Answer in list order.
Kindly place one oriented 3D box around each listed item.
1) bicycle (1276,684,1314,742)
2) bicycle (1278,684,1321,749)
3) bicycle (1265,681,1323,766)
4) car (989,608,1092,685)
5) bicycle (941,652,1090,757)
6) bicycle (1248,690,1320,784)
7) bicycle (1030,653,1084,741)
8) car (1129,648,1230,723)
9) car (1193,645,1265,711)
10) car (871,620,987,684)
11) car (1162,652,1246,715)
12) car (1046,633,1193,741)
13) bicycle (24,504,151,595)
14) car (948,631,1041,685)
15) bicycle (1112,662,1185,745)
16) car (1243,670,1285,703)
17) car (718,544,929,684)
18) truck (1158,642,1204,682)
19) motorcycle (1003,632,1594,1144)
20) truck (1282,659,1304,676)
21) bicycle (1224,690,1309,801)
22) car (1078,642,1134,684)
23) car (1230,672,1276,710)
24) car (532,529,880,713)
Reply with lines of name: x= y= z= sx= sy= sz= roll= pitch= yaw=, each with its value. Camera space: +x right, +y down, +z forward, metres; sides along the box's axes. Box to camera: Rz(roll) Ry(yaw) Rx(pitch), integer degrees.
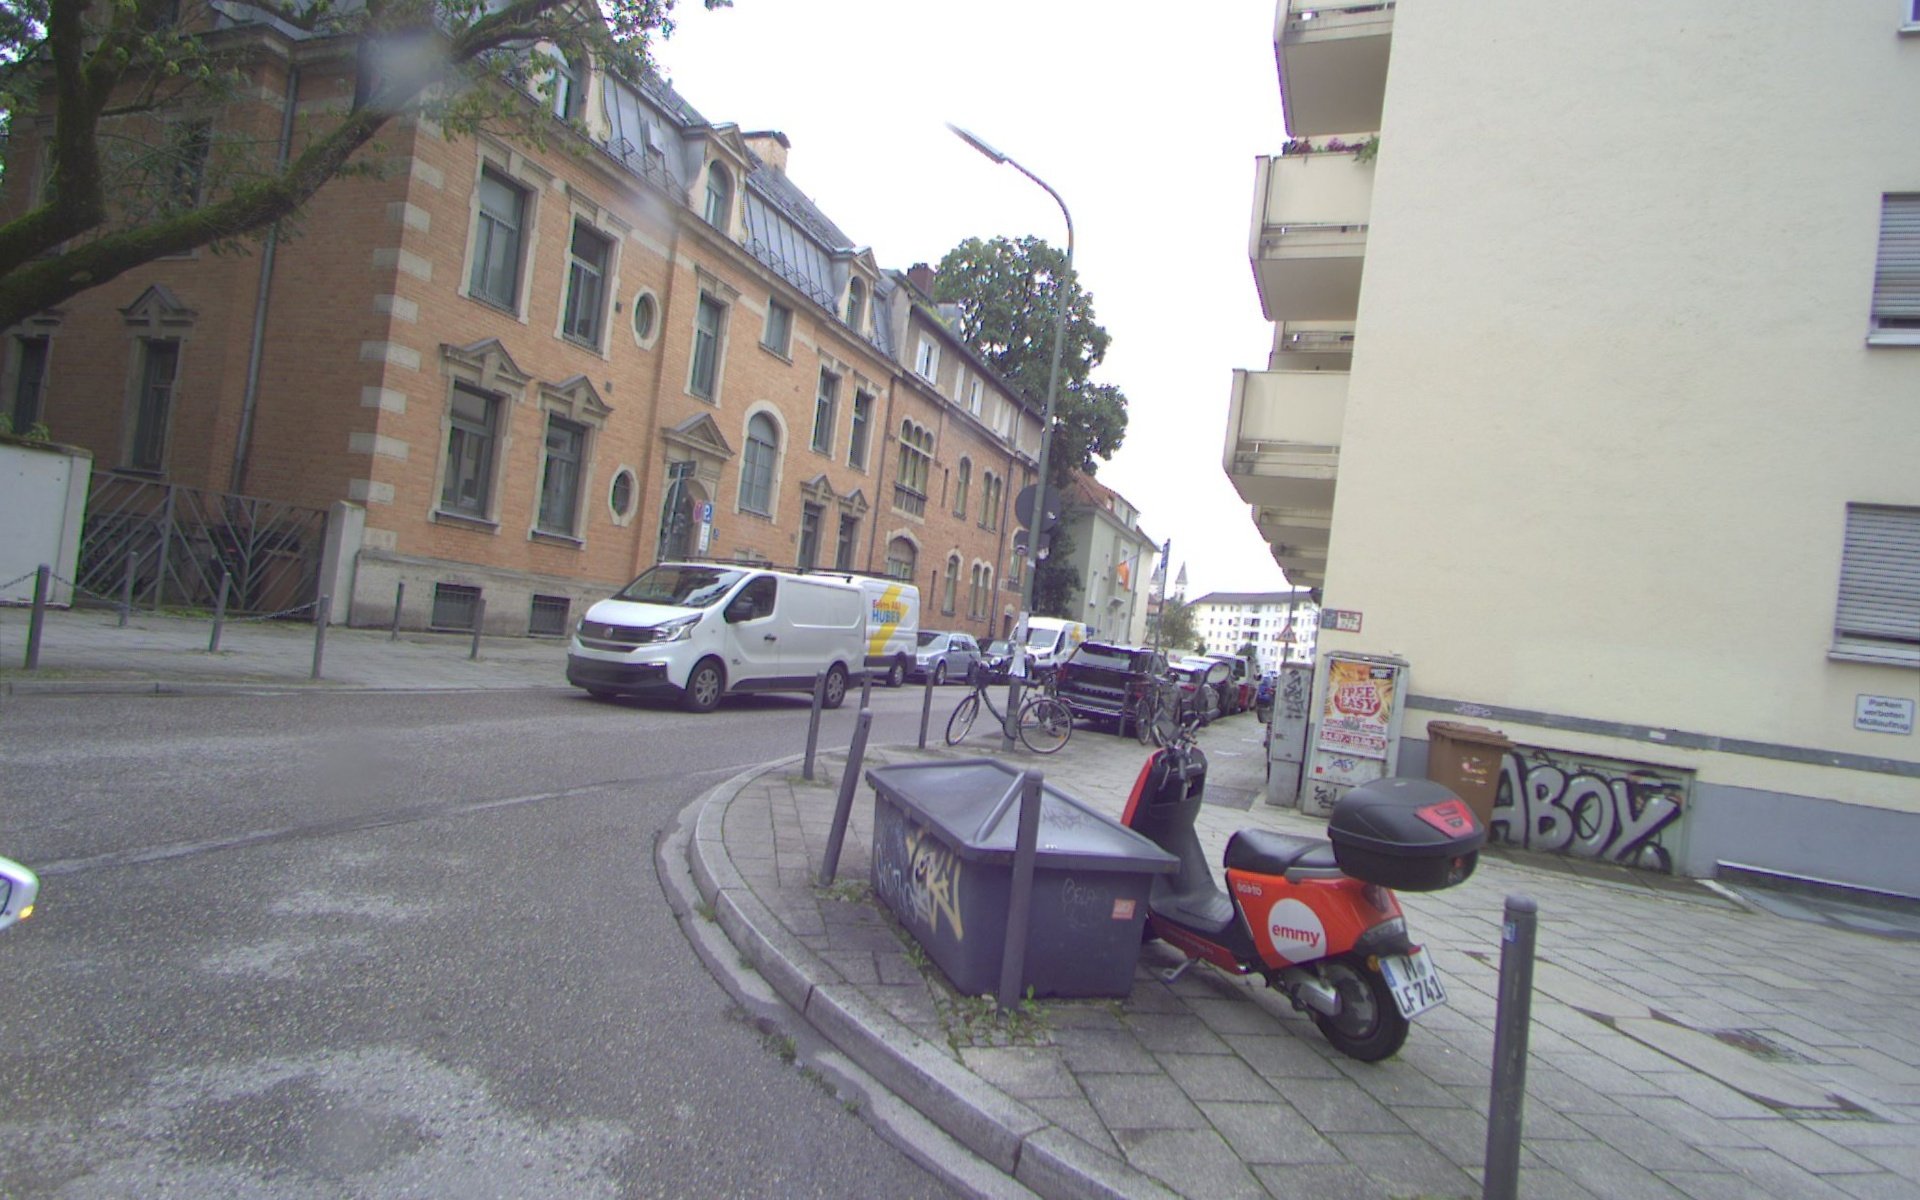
bicycle: x=6.888 y=2.304 z=20.724 sx=0.570 sy=1.066 sz=1.765 roll=7 pitch=-2 yaw=17
bicycle: x=6.293 y=2.140 z=18.704 sx=0.570 sy=1.066 sz=1.840 roll=7 pitch=-2 yaw=17
bicycle: x=5.422 y=1.970 z=16.401 sx=0.676 sy=1.220 sz=1.765 roll=7 pitch=-2 yaw=16
car: x=3.097 y=1.809 z=37.451 sx=2.104 sy=2.376 sz=5.373 roll=6 pitch=-2 yaw=22
bicycle: x=0.681 y=1.306 z=12.777 sx=1.730 sy=1.078 sz=0.776 roll=7 pitch=-1 yaw=-1
bicycle: x=4.215 y=1.736 z=12.993 sx=0.571 sy=1.066 sz=1.763 roll=6 pitch=-2 yaw=25
bicycle: x=1.486 y=1.424 z=15.168 sx=0.570 sy=1.167 sz=1.966 roll=7 pitch=-2 yaw=9
car: x=5.666 y=2.158 z=25.561 sx=1.701 sy=1.476 sz=4.419 roll=8 pitch=-2 yaw=21
car: x=9.641 y=2.789 z=35.772 sx=1.841 sy=1.990 sz=4.821 roll=6 pitch=-2 yaw=20
car: x=-0.755 y=1.481 z=27.631 sx=1.663 sy=1.471 sz=3.999 roll=4 pitch=-3 yaw=21
car: x=7.536 y=2.552 z=30.727 sx=1.831 sy=1.569 sz=4.757 roll=6 pitch=-2 yaw=20
car: x=3.266 y=1.693 z=19.779 sx=1.821 sy=1.657 sz=4.553 roll=6 pitch=-2 yaw=21
bicycle: x=-13.989 y=-0.814 z=16.124 sx=2.044 sy=1.233 sz=0.536 roll=6 pitch=-1 yaw=21
car: x=1.183 y=1.916 z=32.423 sx=1.672 sy=1.448 sz=3.832 roll=6 pitch=-3 yaw=22
bicycle: x=3.033 y=1.646 z=16.044 sx=0.571 sy=1.167 sz=1.963 roll=6 pitch=-2 yaw=25
car: x=15.864 y=4.520 z=52.392 sx=1.624 sy=1.450 sz=4.002 roll=6 pitch=-2 yaw=22
car: x=-2.757 y=0.455 z=22.004 sx=1.962 sy=2.496 sz=5.475 roll=5 pitch=-3 yaw=21
truck: x=15.272 y=4.284 z=69.246 sx=1.963 sy=2.345 sz=5.413 roll=6 pitch=-2 yaw=22
motorcycle: x=1.202 y=0.943 z=4.105 sx=0.810 sy=1.372 sz=2.065 roll=8 pitch=-1 yaw=-35
truck: x=51.875 y=10.543 z=156.849 sx=2.190 sy=2.328 sz=5.295 roll=4 pitch=-2 yaw=7
bicycle: x=3.453 y=1.583 z=11.251 sx=0.571 sy=1.066 sz=1.763 roll=6 pitch=-2 yaw=25
car: x=7.105 y=3.067 z=48.661 sx=1.792 sy=1.730 sz=4.004 roll=7 pitch=-2 yaw=19
car: x=13.279 y=4.126 z=45.454 sx=1.584 sy=1.450 sz=3.622 roll=6 pitch=-2 yaw=21
car: x=-3.305 y=0.408 z=14.349 sx=2.010 sy=2.065 sz=4.957 roll=4 pitch=-3 yaw=25
